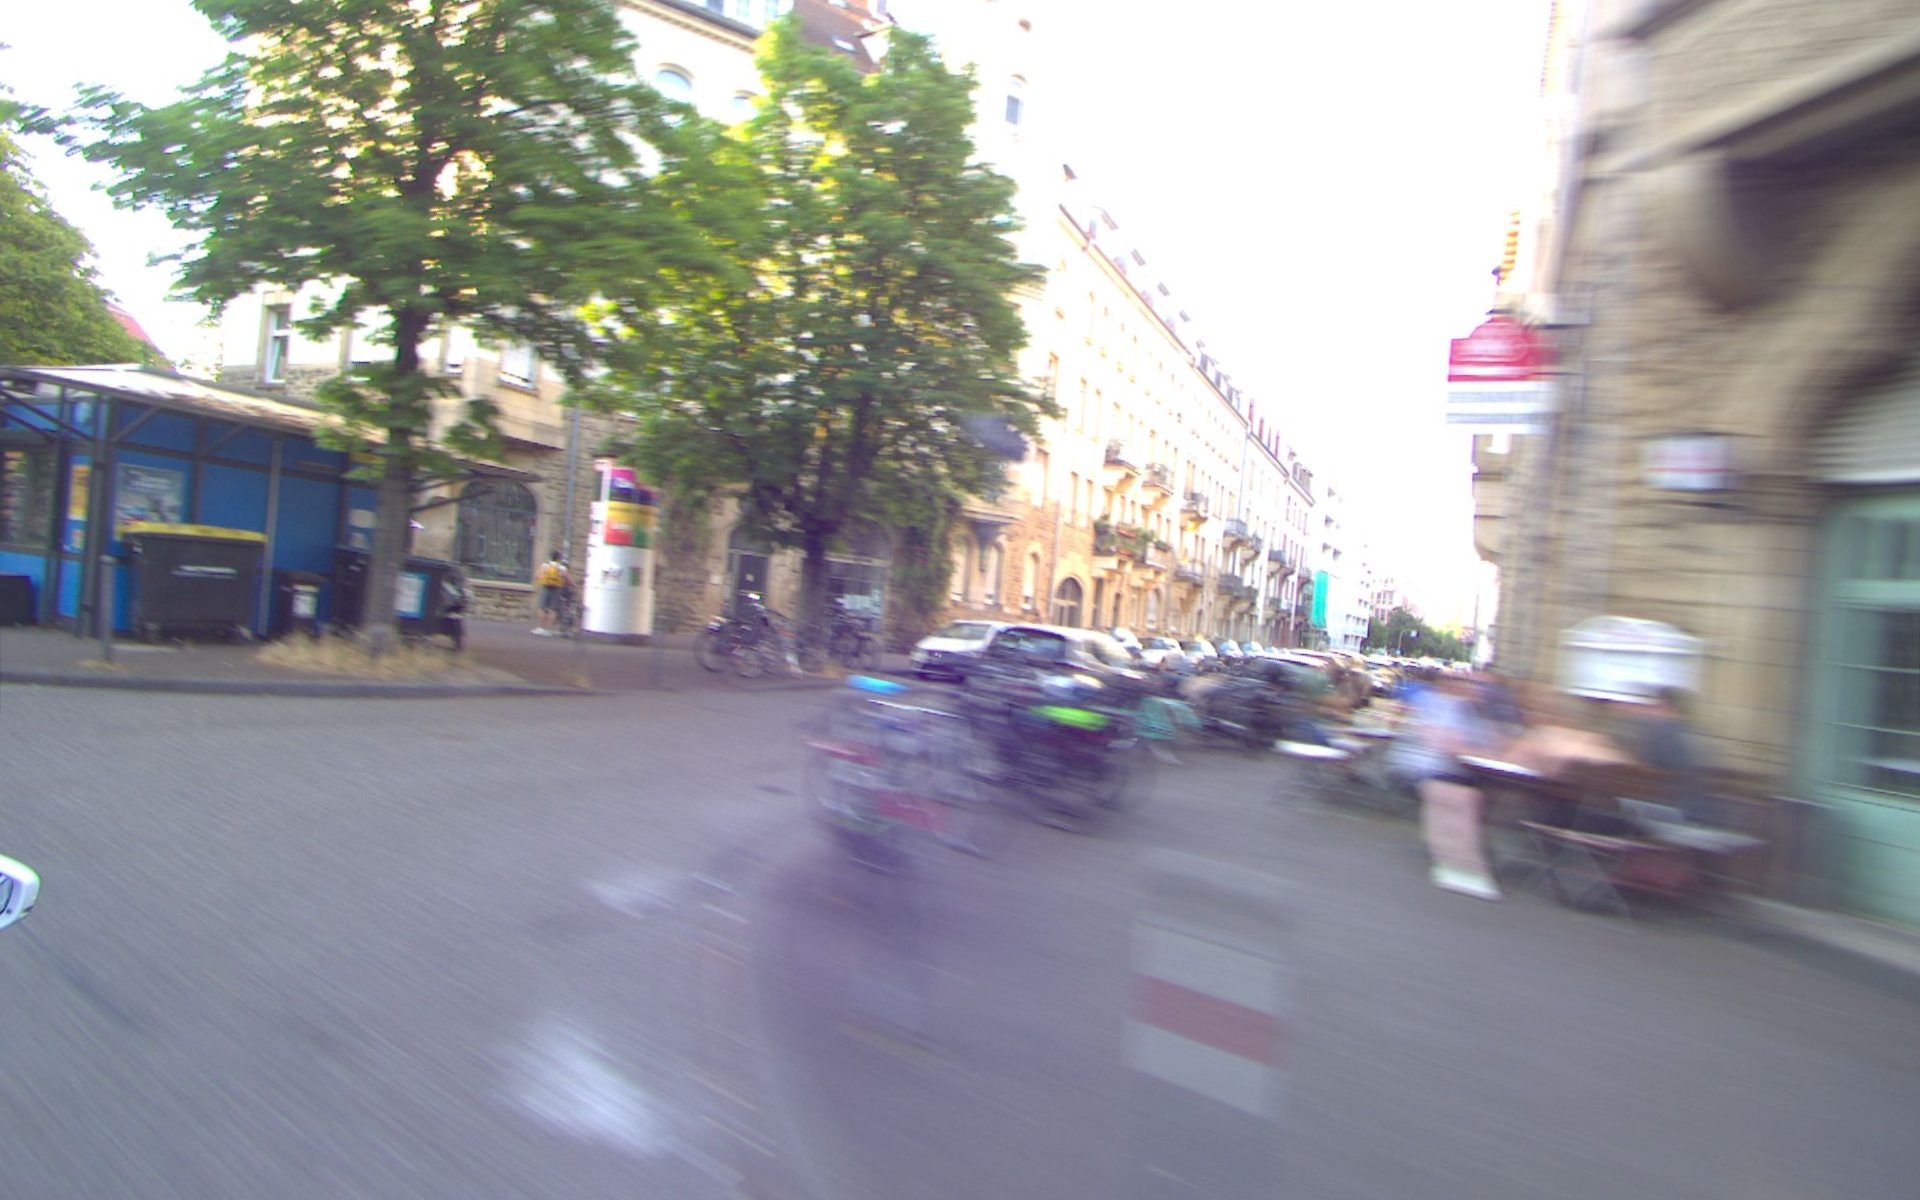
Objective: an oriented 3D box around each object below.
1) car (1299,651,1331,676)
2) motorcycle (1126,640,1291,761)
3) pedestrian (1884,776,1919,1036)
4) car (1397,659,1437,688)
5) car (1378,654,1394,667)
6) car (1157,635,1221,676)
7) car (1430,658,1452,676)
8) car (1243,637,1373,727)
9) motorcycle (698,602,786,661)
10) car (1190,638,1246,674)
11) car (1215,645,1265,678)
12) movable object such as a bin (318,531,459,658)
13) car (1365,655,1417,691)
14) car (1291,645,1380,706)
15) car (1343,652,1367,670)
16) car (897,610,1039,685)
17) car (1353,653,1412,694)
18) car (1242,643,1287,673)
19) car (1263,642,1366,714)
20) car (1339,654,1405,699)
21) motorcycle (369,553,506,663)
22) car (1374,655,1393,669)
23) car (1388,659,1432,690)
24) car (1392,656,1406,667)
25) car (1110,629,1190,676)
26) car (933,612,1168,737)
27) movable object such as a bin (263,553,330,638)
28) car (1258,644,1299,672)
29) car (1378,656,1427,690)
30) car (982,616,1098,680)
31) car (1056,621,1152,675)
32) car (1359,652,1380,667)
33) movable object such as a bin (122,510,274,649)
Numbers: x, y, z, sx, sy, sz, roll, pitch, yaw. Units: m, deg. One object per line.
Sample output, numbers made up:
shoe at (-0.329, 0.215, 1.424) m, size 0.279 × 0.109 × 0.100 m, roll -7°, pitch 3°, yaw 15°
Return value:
car at (28.167, 5.048, 79.771) m, size 1.794 × 1.705 × 4.125 m, roll 6°, pitch -2°, yaw 26°
motorcycle at (3.269, 1.288, 13.260) m, size 1.966 × 1.370 × 0.639 m, roll 4°, pitch 0°, yaw 21°
pedestrian at (4.630, 1.179, 4.000) m, size 0.996 × 1.415 × 0.893 m, roll 5°, pitch 2°, yaw -17°
car at (28.035, 4.501, 61.659) m, size 1.796 × 1.502 × 3.899 m, roll 6°, pitch 0°, yaw 30°
car at (61.269, 8.718, 144.660) m, size 1.795 × 1.501 × 4.124 m, roll 6°, pitch -2°, yaw 27°
car at (10.267, 2.507, 44.959) m, size 1.794 × 1.501 × 4.125 m, roll 6°, pitch -2°, yaw 26°
car at (46.993, 6.548, 98.225) m, size 1.794 × 1.502 × 3.902 m, roll 6°, pitch 0°, yaw 27°
car at (7.335, 1.706, 20.980) m, size 1.795 × 1.501 × 3.902 m, roll 5°, pitch -2°, yaw 29°
motorcycle at (-4.259, 0.632, 19.758) m, size 0.569 × 1.067 × 1.830 m, roll 5°, pitch 0°, yaw 28°
car at (12.824, 2.813, 49.788) m, size 1.794 × 1.501 × 4.125 m, roll 6°, pitch -2°, yaw 26°
car at (15.172, 3.354, 54.400) m, size 1.794 × 1.501 × 4.125 m, roll 6°, pitch -2°, yaw 26°
movable object such as a bin at (-7.736, -0.059, 13.660) m, size 0.807 × 1.491 × 1.283 m, roll 6°, pitch -3°, yaw 36°
car at (20.947, 3.521, 48.781) m, size 1.795 × 1.502 × 3.899 m, roll 6°, pitch 0°, yaw 30°
car at (11.043, 2.221, 29.454) m, size 1.795 × 1.501 × 3.903 m, roll 5°, pitch -2°, yaw 29°
car at (40.068, 6.182, 101.964) m, size 1.795 × 1.501 × 4.124 m, roll 6°, pitch -2°, yaw 27°
car at (0.290, 1.206, 24.331) m, size 1.794 × 1.501 × 3.904 m, roll 6°, pitch -2°, yaw 27°
car at (18.564, 3.258, 44.136) m, size 1.796 × 1.501 × 3.901 m, roll 5°, pitch -2°, yaw 30°
car at (18.054, 3.457, 59.547) m, size 1.794 × 1.501 × 4.125 m, roll 6°, pitch -2°, yaw 26°
car at (9.092, 1.985, 25.583) m, size 1.795 × 1.501 × 3.903 m, roll 6°, pitch -2°, yaw 28°
car at (16.338, 3.045, 39.778) m, size 1.796 × 1.501 × 3.901 m, roll 5°, pitch -2°, yaw 30°
motorcycle at (-7.974, 0.117, 15.347) m, size 1.850 × 1.472 × 0.868 m, roll 6°, pitch 1°, yaw 28°
car at (53.692, 7.880, 127.440) m, size 1.795 × 1.501 × 4.124 m, roll 6°, pitch -2°, yaw 27°
car at (25.733, 4.248, 57.443) m, size 1.796 × 1.502 × 3.899 m, roll 6°, pitch 0°, yaw 30°
car at (71.829, 10.037, 164.641) m, size 1.795 × 1.501 × 4.124 m, roll 6°, pitch -2°, yaw 27°
car at (7.519, 2.097, 39.541) m, size 1.795 × 1.501 × 4.070 m, roll 6°, pitch -2°, yaw 29°
car at (1.471, 1.043, 14.666) m, size 1.852 × 1.401 × 4.030 m, roll 5°, pitch -1°, yaw 29°
movable object such as a bin at (-8.384, -0.057, 12.716) m, size 0.479 × 1.014 × 0.480 m, roll 6°, pitch 1°, yaw 28°
car at (20.276, 3.706, 63.917) m, size 1.794 × 1.501 × 4.125 m, roll 6°, pitch -2°, yaw 26°
car at (23.182, 3.805, 52.642) m, size 1.796 × 1.502 × 3.899 m, roll 6°, pitch 0°, yaw 30°
car at (2.342, 1.395, 28.533) m, size 1.794 × 1.501 × 4.001 m, roll 6°, pitch -2°, yaw 27°
car at (4.883, 1.639, 33.737) m, size 1.795 × 1.501 × 3.902 m, roll 5°, pitch -2°, yaw 29°
car at (48.319, 7.049, 118.648) m, size 1.795 × 1.501 × 4.124 m, roll 6°, pitch -2°, yaw 27°
movable object such as a bin at (-8.798, -0.228, 11.636) m, size 0.754 × 1.496 × 1.220 m, roll 6°, pitch 3°, yaw 36°
